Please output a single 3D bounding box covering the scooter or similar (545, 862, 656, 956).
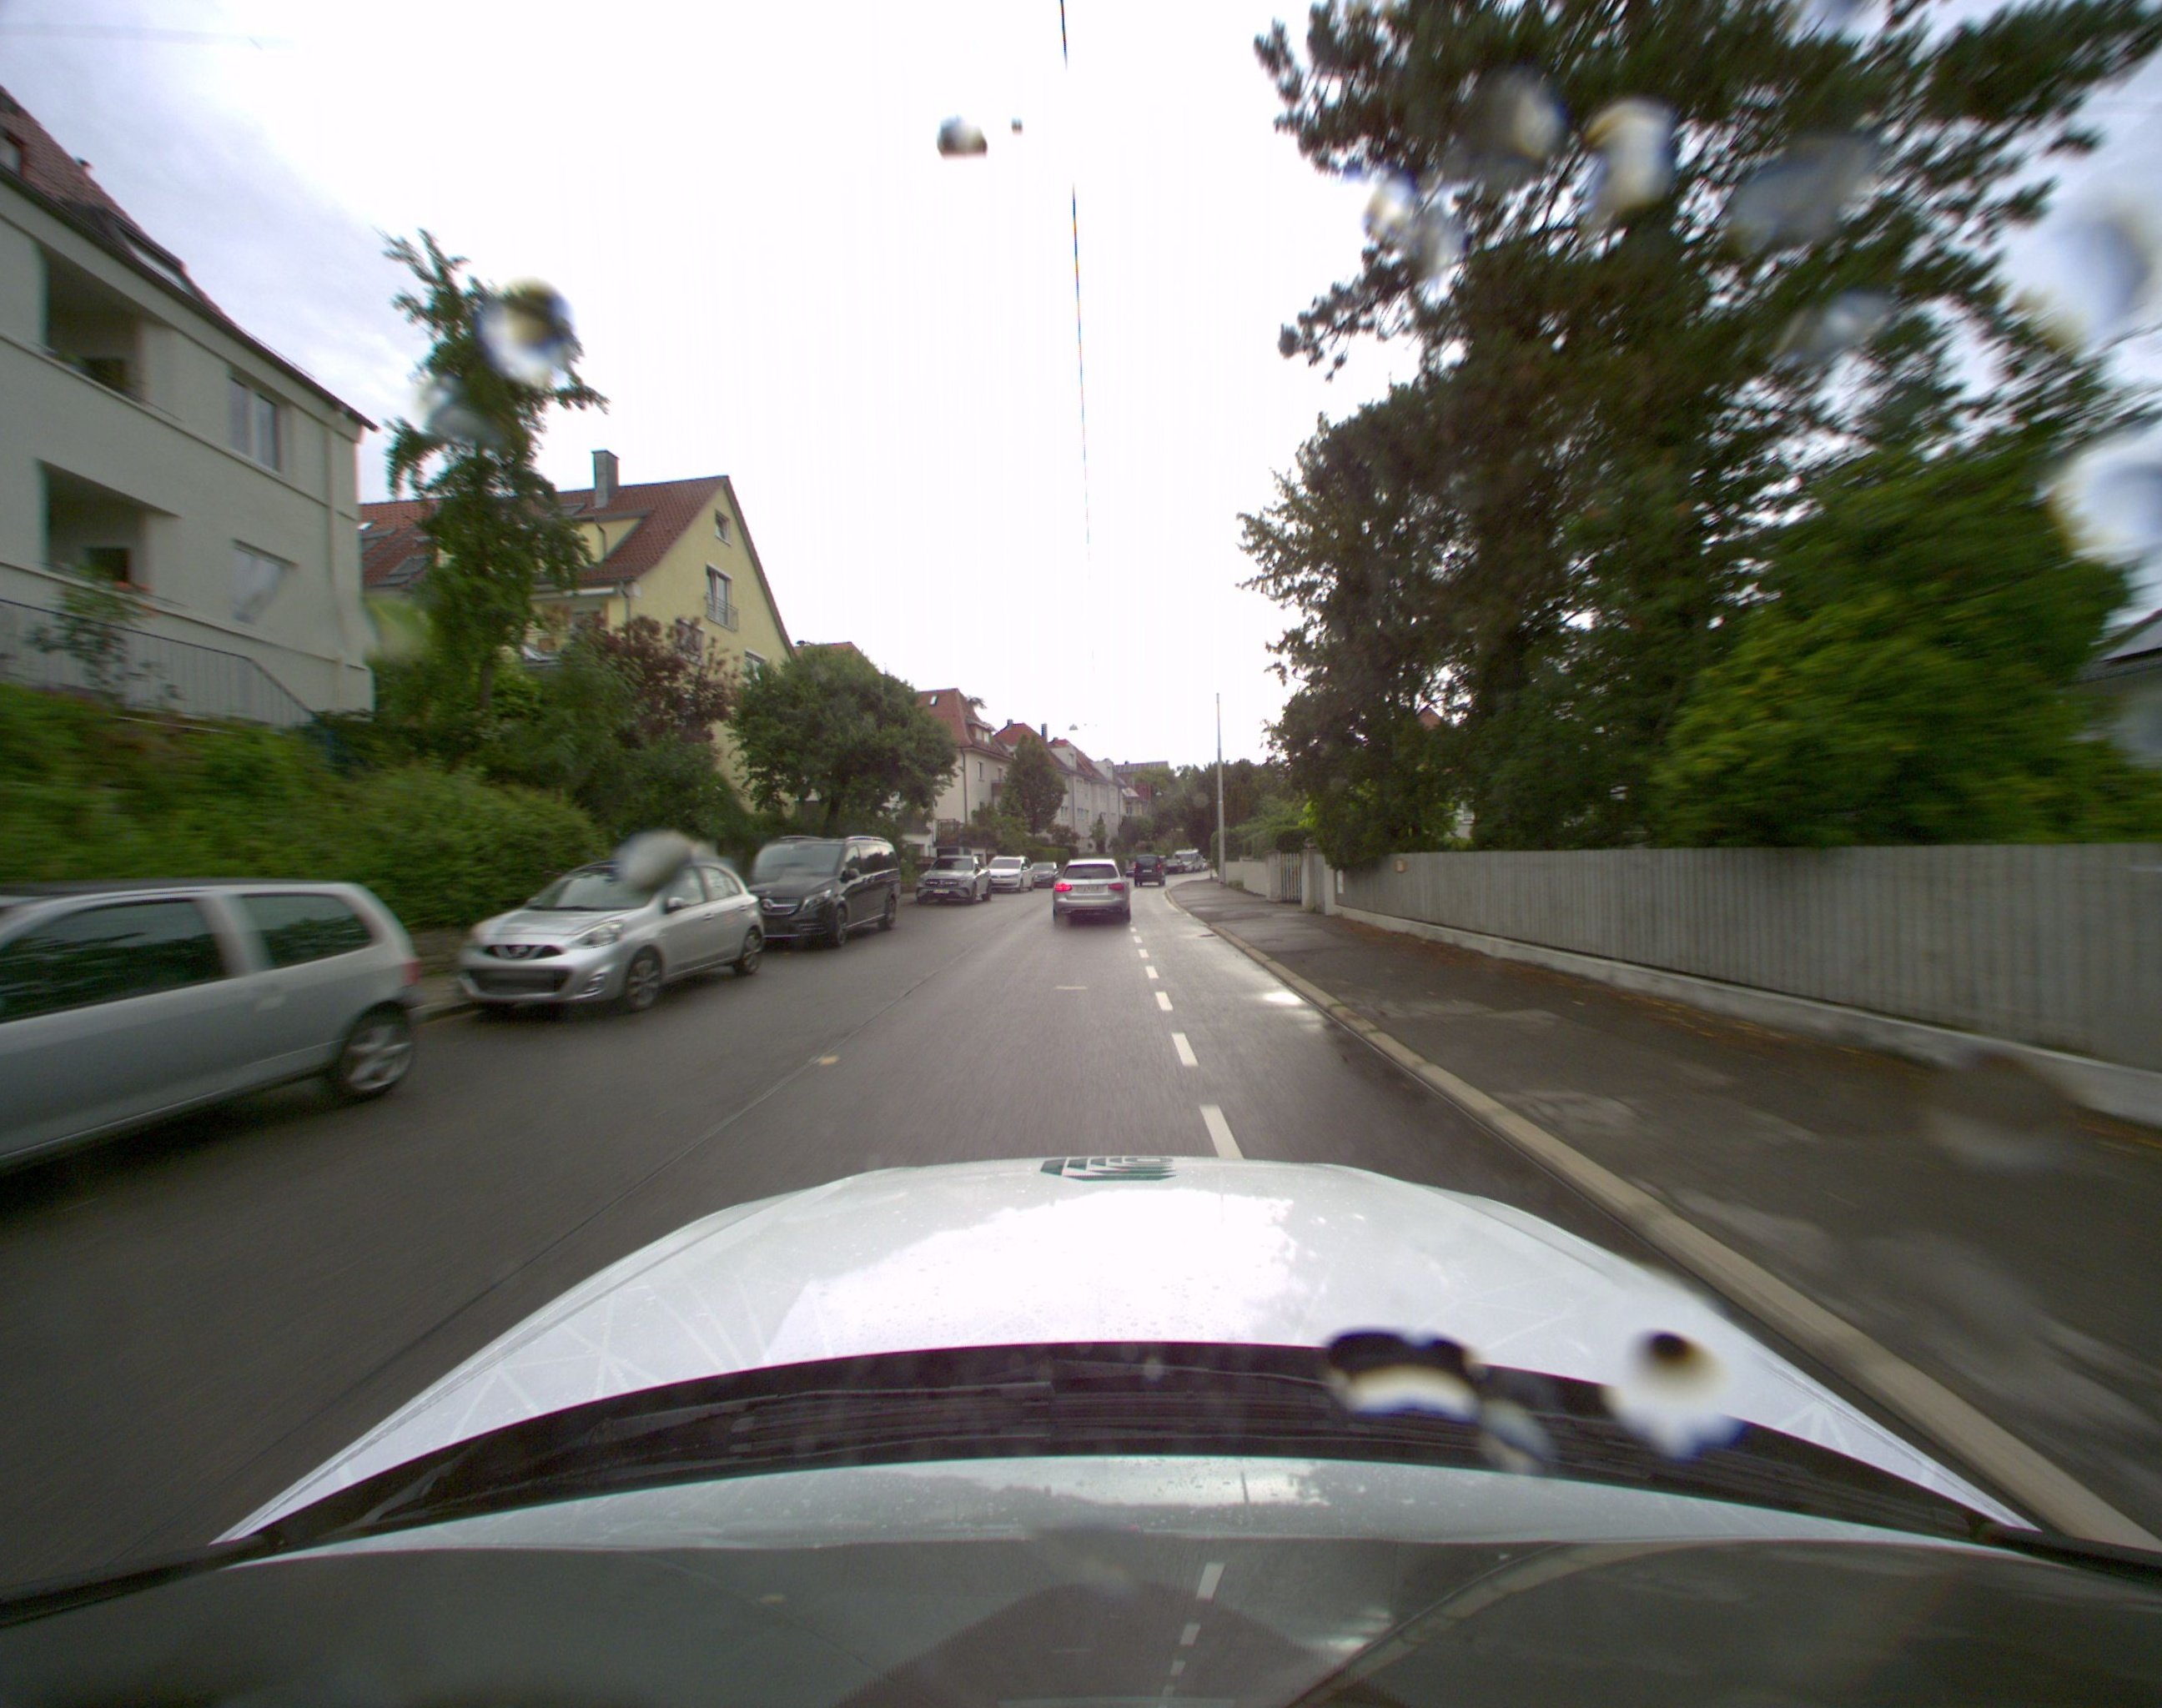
[{"bbox_3d":[-7.380,0.797,12.617,0.499,1.256,1.919,-1,2,1],"label":"scooter or similar"}]

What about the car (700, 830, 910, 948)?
[{"bbox_3d":[-4.960,0.554,15.642,1.985,1.878,5.360,0,0,2],"label":"car"}]

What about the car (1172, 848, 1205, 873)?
[{"bbox_3d":[12.912,0.754,97.617,2.370,2.771,6.566,0,1,21],"label":"car"}]

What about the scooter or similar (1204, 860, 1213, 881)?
[{"bbox_3d":[8.214,1.045,52.538,0.447,1.307,1.486,-3,-2,11],"label":"scooter or similar"}]

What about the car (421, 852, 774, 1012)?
[{"bbox_3d":[-5.166,0.723,9.396,1.688,1.447,3.815,-1,0,2],"label":"car"}]

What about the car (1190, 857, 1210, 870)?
[{"bbox_3d":[15.039,1.149,102.661,1.698,1.447,3.272,0,2,22],"label":"car"}]

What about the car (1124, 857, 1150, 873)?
[{"bbox_3d":[5.413,1.034,78.375,1.631,1.417,4.632,0,0,16],"label":"car"}]

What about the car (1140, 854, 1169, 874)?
[{"bbox_3d":[7.627,1.018,83.829,1.814,2.056,5.033,0,-1,18],"label":"car"}]

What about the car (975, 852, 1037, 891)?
[{"bbox_3d":[-3.472,0.778,38.507,1.984,1.702,4.746,2,0,6],"label":"car"}]

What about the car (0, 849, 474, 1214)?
[{"bbox_3d":[-5.301,0.756,4.137,1.641,1.446,3.629,-1,2,1],"label":"car"}]

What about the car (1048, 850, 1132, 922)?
[{"bbox_3d":[0.255,0.686,19.580,1.809,1.556,4.002,0,0,2],"label":"car"}]

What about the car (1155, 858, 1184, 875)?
[{"bbox_3d":[9.893,1.325,90.395,1.976,1.688,4.702,0,2,22],"label":"car"}]

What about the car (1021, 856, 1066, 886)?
[{"bbox_3d":[-2.107,0.941,46.849,1.781,1.580,4.148,2,0,8],"label":"car"}]

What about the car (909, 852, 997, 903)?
[{"bbox_3d":[-4.345,0.744,28.419,1.985,1.580,4.766,2,0,4],"label":"car"}]

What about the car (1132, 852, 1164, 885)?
[{"bbox_3d":[4.094,0.841,49.231,1.833,1.904,4.006,0,-1,6],"label":"car"}]
